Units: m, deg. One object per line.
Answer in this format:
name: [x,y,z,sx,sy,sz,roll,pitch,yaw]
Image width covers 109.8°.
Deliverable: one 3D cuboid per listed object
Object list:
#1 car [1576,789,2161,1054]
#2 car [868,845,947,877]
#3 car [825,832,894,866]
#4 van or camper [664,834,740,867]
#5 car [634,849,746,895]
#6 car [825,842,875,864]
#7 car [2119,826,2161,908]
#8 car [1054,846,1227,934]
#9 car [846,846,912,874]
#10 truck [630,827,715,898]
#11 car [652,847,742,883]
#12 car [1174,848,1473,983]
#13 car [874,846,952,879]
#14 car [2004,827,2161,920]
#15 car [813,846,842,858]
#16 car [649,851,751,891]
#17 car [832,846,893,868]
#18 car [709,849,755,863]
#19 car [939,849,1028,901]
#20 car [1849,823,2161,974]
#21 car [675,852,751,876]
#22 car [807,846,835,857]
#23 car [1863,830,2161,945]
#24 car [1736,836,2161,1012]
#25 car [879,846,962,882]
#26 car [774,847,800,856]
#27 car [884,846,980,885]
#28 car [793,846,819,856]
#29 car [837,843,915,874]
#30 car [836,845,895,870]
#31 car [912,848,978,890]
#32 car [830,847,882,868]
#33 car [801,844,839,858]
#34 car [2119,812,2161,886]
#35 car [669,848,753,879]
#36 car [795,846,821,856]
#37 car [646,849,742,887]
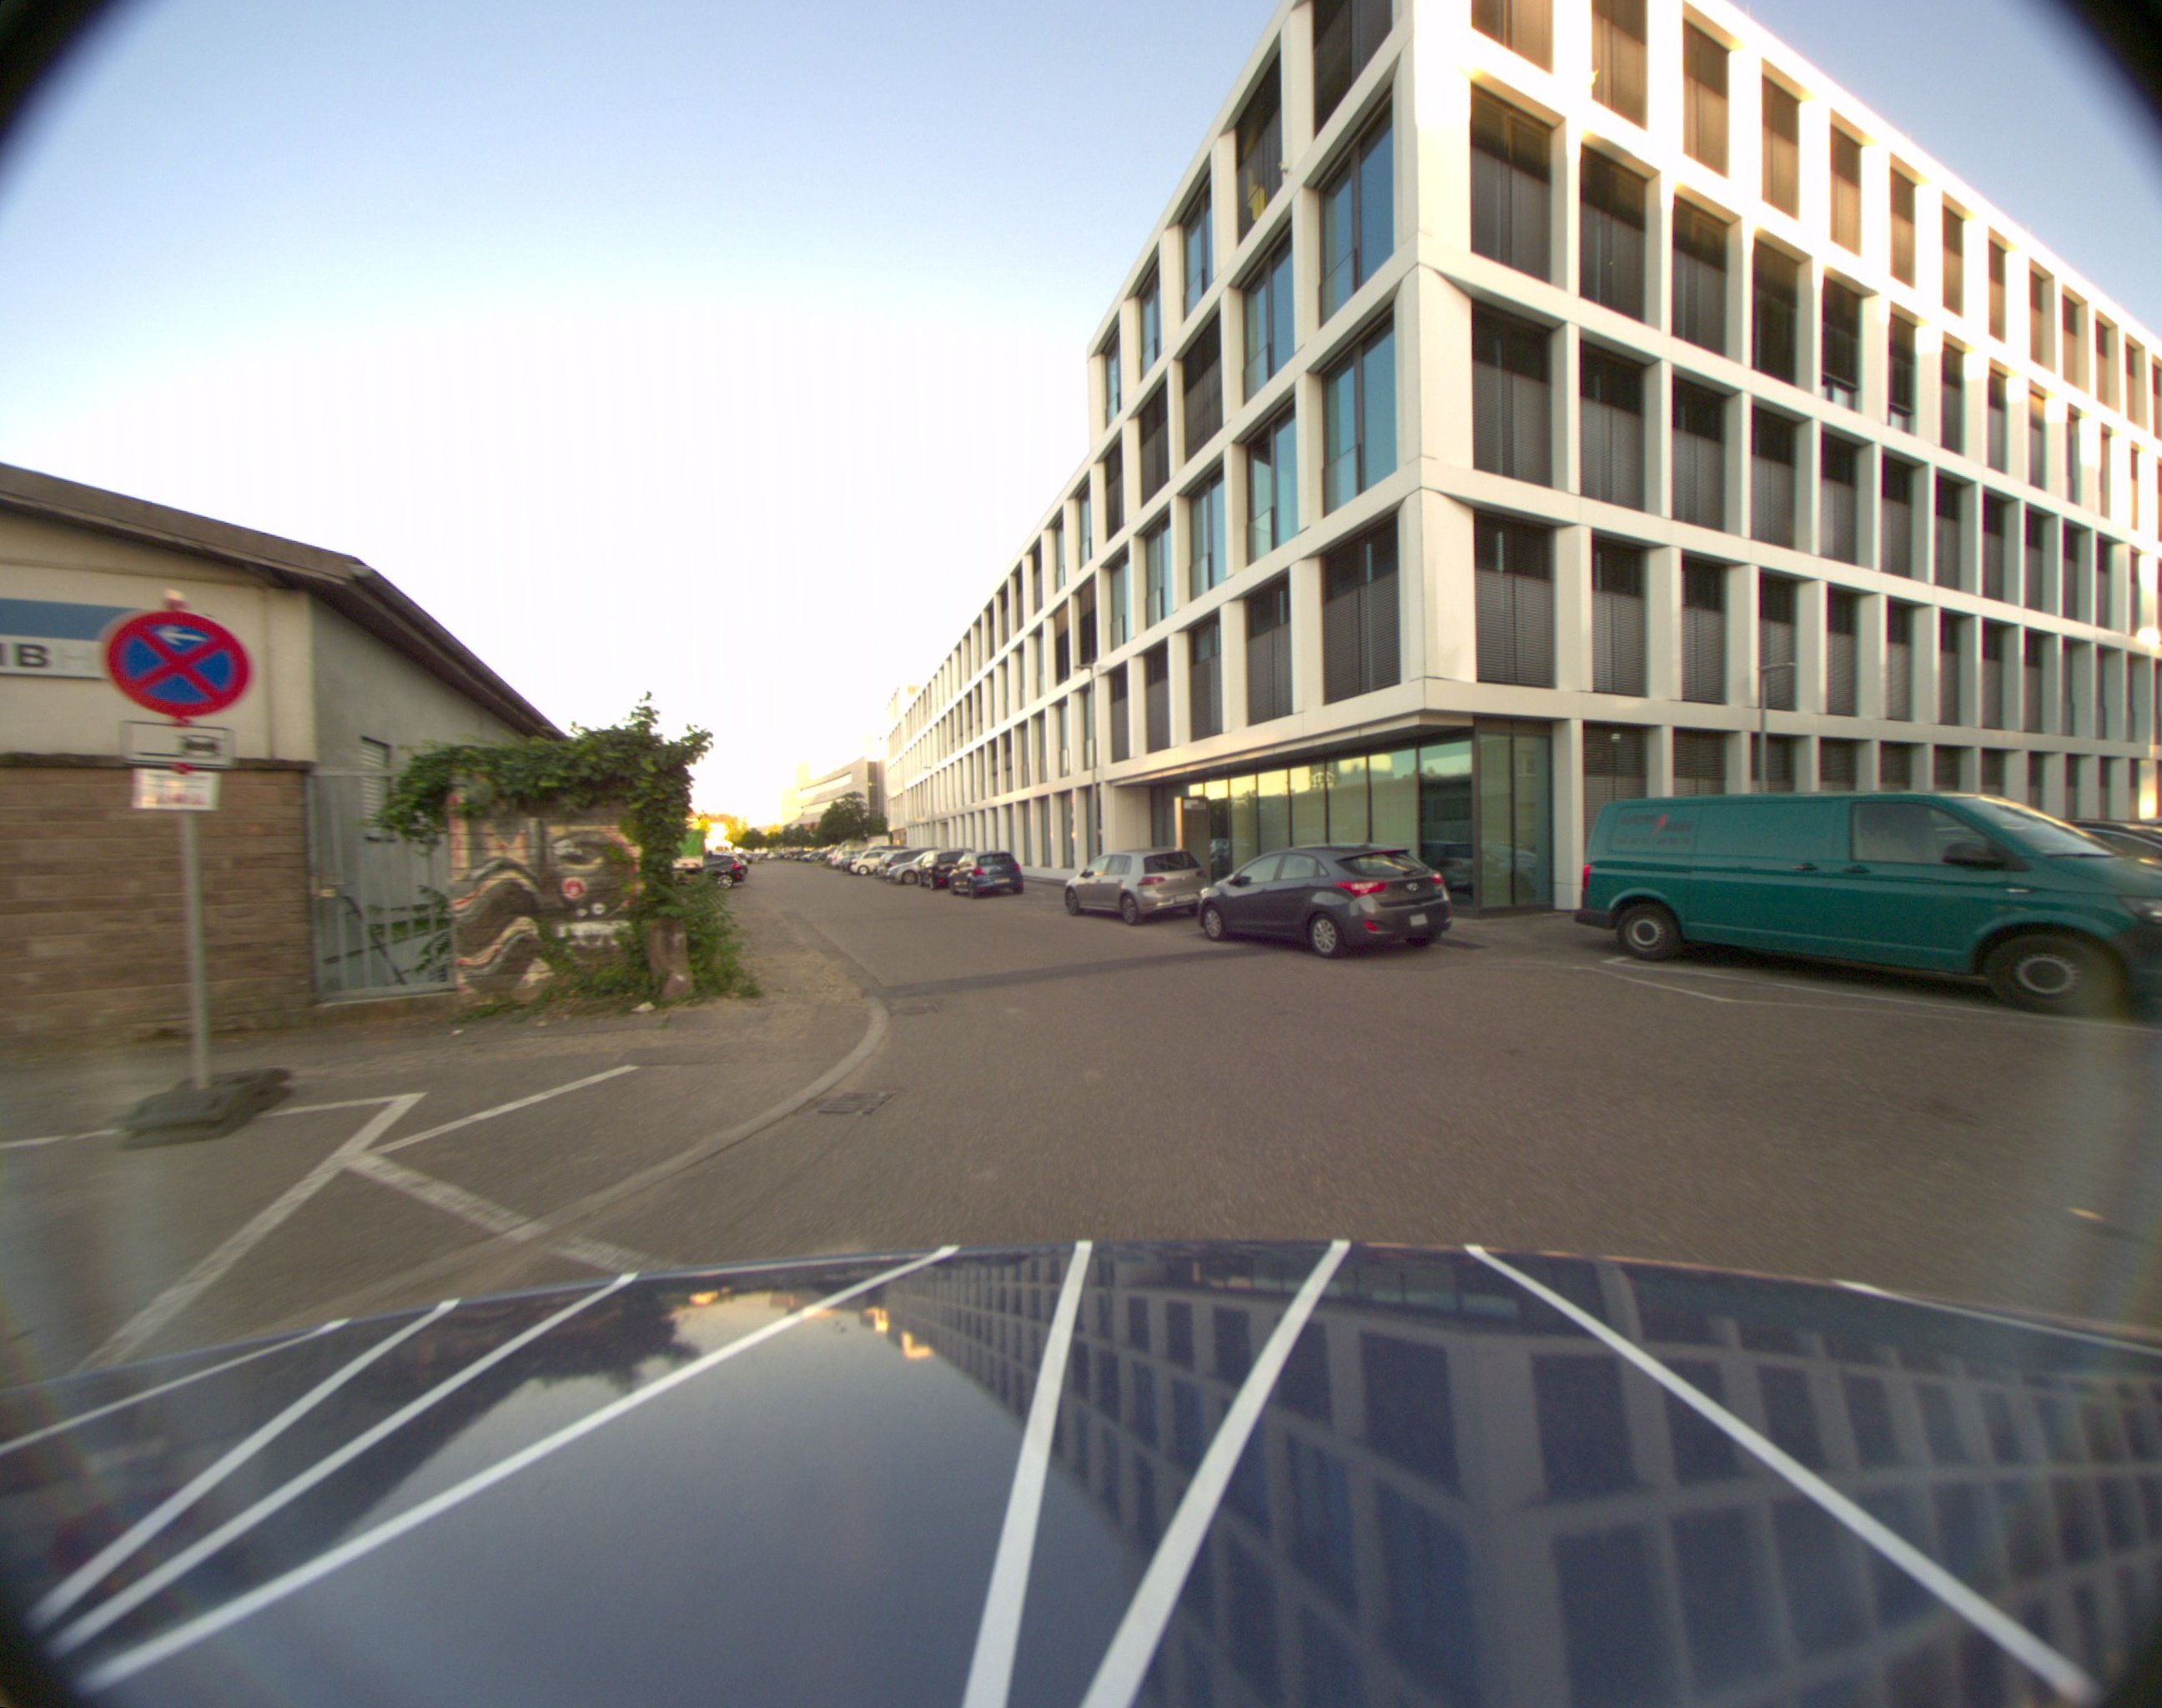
car: [8.022,0.423,7.814,1.805,1.969,4.678,-2,2,-24]
car: [-9.482,0.379,41.512,3.980,1.503,1.792,-3,2,-20]
car: [-19.082,-0.476,65.380,5.403,2.618,2.074,-3,2,-20]
van or camper: [-33.170,-0.343,66.725,5.806,2.848,2.481,-1,2,-25]
car: [-15.625,0.669,30.607,3.775,1.527,1.887,-3,3,-22]
car: [-21.388,-0.102,70.250,4.126,1.807,1.812,-3,2,-26]
car: [20.938,0.300,12.523,1.737,1.448,4.189,-2,4,-23]
car: [1.110,0.648,16.264,1.717,1.471,4.175,-6,3,-26]
car: [-12.149,0.344,45.641,3.681,1.503,1.693,-3,2,-18]
truck: [-14.208,0.280,26.725,2.107,2.187,5.700,-1,0,-24]
car: [-19.932,0.537,39.571,4.001,1.610,1.823,-3,2,-27]
car: [3.284,0.708,11.268,1.787,1.471,4.322,-4,2,-23]
car: [-8.633,0.413,38.997,3.669,1.503,1.684,-3,2,-21]
car: [18.309,0.331,12.113,1.737,1.448,4.189,-2,4,-23]
car: [-36.310,-0.326,108.872,3.661,1.539,1.722,-4,2,-22]
car: [-16.400,0.696,32.923,3.776,1.436,1.841,-3,3,-24]
car: [-16.844,0.215,58.608,4.325,1.487,1.791,-3,2,-20]
car: [-36.879,0.216,80.270,4.335,1.326,1.892,-1,1,-25]
car: [-3.325,0.627,25.267,1.655,1.431,4.175,-6,3,-24]
car: [12.832,0.481,9.383,1.737,1.650,4.320,-2,4,-23]
car: [-23.692,0.620,49.085,4.219,1.359,1.820,-3,2,-20]
car: [-38.876,-0.347,113.635,3.661,1.416,1.722,-4,2,-23]
car: [14.808,0.419,11.194,1.737,1.448,4.189,-2,4,-23]
car: [10.563,0.638,8.647,1.787,1.541,4.320,-2,4,-23]
car: [-7.794,0.449,36.962,3.669,1.503,1.684,-3,2,-21]
car: [-54.222,-0.505,140.186,4.034,1.340,1.795,-4,2,-33]
car: [-6.754,0.476,34.403,3.942,1.503,1.684,-3,2,-20]
car: [-45.968,-0.502,126.827,3.818,1.353,1.795,-4,2,-28]
car: [-12.984,0.234,48.080,4.637,1.696,2.001,-3,2,-18]
car: [-15.262,0.229,53.802,3.797,1.514,1.690,-3,2,-23]
car: [-5.581,0.538,30.810,1.655,1.431,4.193,-6,3,-22]
car: [-18.021,0.254,60.864,3.723,1.487,1.704,-3,2,-22]
car: [-39.829,-0.439,115.902,5.091,1.870,1.885,-4,2,-28]
car: [25.186,-0.049,15.474,1.737,1.603,4.454,-2,4,-23]
car: [-21.571,0.524,44.484,4.220,1.495,1.886,-3,3,-22]
car: [-44.635,-0.533,124.298,3.818,1.353,1.795,-4,2,-28]
car: [-18.811,0.642,37.137,4.001,1.600,1.935,-3,2,-24]
